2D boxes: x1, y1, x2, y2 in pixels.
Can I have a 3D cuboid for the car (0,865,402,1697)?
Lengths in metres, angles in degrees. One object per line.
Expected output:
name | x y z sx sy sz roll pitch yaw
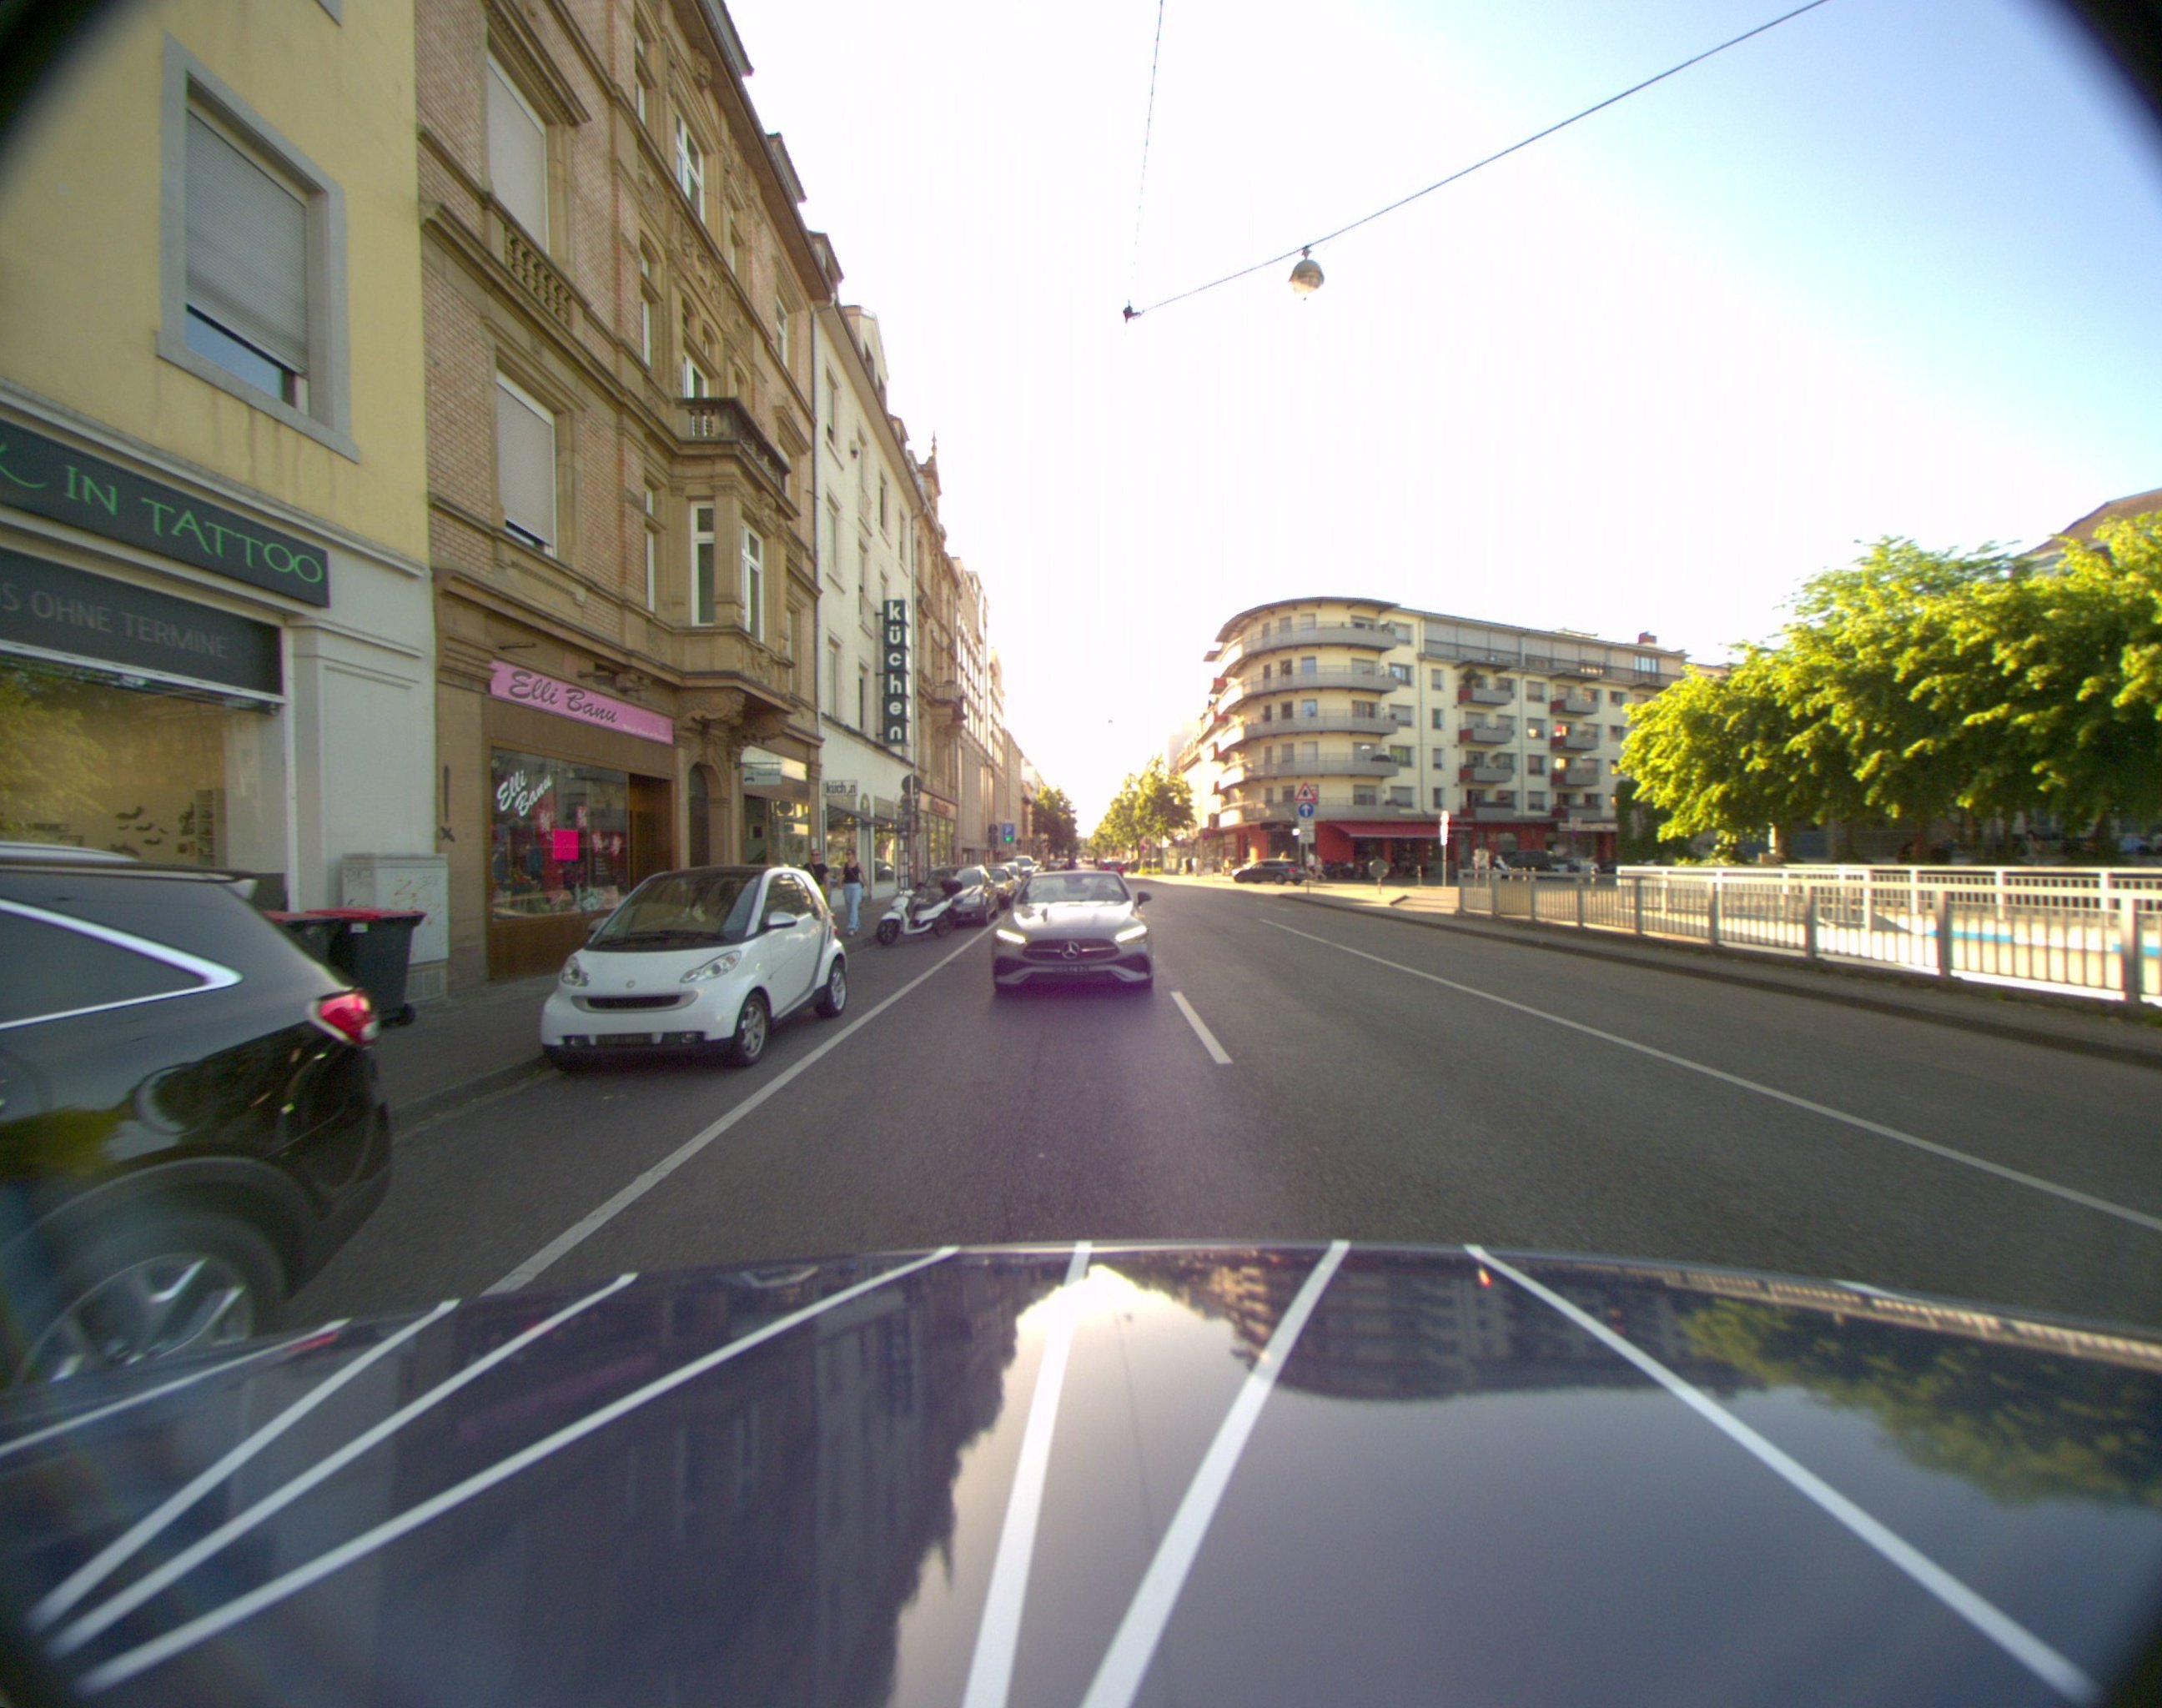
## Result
car | -3.095 0.922 0.241 1.760 1.726 4.571 -2 0 -3

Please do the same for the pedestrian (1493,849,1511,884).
pedestrian | 21.993 0.646 39.698 0.602 1.782 0.581 -3 1 -40

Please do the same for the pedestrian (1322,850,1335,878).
pedestrian | 15.566 0.631 47.848 0.575 1.698 0.642 -1 0 3

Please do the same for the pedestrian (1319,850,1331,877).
pedestrian | 15.586 0.622 48.549 0.575 1.698 0.642 -1 0 3

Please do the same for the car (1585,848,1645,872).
car | 39.233 0.421 55.775 3.940 1.611 1.788 -2 0 -23

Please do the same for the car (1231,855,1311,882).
car | 10.441 0.791 41.867 1.811 1.388 3.916 -2 0 -42

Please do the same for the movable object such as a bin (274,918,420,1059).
movable object such as a bin | -6.137 1.103 6.380 0.606 1.060 0.619 2 0 1

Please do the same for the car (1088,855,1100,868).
car | 2.316 1.291 131.722 1.998 2.002 4.000 -2 0 1

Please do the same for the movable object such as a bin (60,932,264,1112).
movable object such as a bin | -6.156 1.097 5.121 0.606 1.060 0.619 2 0 1

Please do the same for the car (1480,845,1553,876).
car | 29.203 0.443 50.952 4.432 1.901 1.952 -2 0 -23

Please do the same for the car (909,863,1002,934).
car | -3.060 1.031 19.315 1.737 1.509 4.164 -2 0 -2

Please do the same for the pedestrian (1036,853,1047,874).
pedestrian | -3.071 0.714 58.999 0.774 1.606 0.696 -2 1 -3

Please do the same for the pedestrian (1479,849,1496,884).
pedestrian | 21.217 0.669 39.626 0.602 1.782 0.581 -3 1 -45

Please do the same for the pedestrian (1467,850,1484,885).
pedestrian | 20.471 0.716 39.380 0.602 1.782 0.581 -3 1 -45

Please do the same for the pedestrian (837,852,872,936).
pedestrian | -4.527 0.788 15.169 0.516 1.623 0.413 -2 1 -38

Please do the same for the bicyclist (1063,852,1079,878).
bicyclist | -0.548 0.594 42.158 0.798 1.426 1.008 -2 0 1

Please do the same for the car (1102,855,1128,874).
car | 2.639 0.810 58.954 1.895 1.388 4.256 -2 0 2

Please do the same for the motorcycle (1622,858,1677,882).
motorcycle | 26.400 0.740 35.333 1.927 1.096 0.682 -1 0 23

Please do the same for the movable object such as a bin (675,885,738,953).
movable object such as a bin | -6.195 1.062 12.593 0.716 1.065 0.619 2 0 1

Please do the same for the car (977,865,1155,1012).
car | -0.067 0.931 10.214 1.847 1.440 4.374 -2 0 2

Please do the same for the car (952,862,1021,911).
car | -3.064 1.018 25.358 1.737 1.408 3.802 -2 0 1

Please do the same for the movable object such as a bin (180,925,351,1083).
movable object such as a bin | -6.142 1.104 5.754 0.606 1.060 0.619 2 0 1

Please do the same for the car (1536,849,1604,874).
car | 34.308 0.513 53.311 4.300 1.611 1.952 -2 0 -23

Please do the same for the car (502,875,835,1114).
car | -3.242 0.992 6.537 1.275 1.509 2.795 -2 0 0

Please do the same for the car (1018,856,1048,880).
car | -3.452 0.983 55.509 1.895 1.595 4.049 -2 0 1

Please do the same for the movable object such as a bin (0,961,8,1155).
movable object such as a bin | -6.197 1.106 3.859 0.606 1.060 0.619 2 0 1

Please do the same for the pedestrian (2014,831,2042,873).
pedestrian | 40.768 -0.085 32.711 0.602 1.782 0.582 -2 1 -20

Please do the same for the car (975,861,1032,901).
car | -2.966 1.003 29.747 1.737 1.408 3.802 -2 0 1

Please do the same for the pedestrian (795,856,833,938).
pedestrian | -5.305 0.846 15.128 0.619 1.623 0.462 1 0 -9

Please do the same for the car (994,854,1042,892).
car | -2.942 0.856 36.378 1.895 1.680 4.049 -2 0 1

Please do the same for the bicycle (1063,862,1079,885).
bicycle | -0.535 1.072 42.211 0.798 1.225 1.774 -2 0 1

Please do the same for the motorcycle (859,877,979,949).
motorcycle | -3.214 1.133 15.217 2.178 1.272 0.866 -2 0 -41

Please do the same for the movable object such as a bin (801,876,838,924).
movable object such as a bin | -6.093 1.053 17.705 0.606 1.067 0.619 2 0 1
